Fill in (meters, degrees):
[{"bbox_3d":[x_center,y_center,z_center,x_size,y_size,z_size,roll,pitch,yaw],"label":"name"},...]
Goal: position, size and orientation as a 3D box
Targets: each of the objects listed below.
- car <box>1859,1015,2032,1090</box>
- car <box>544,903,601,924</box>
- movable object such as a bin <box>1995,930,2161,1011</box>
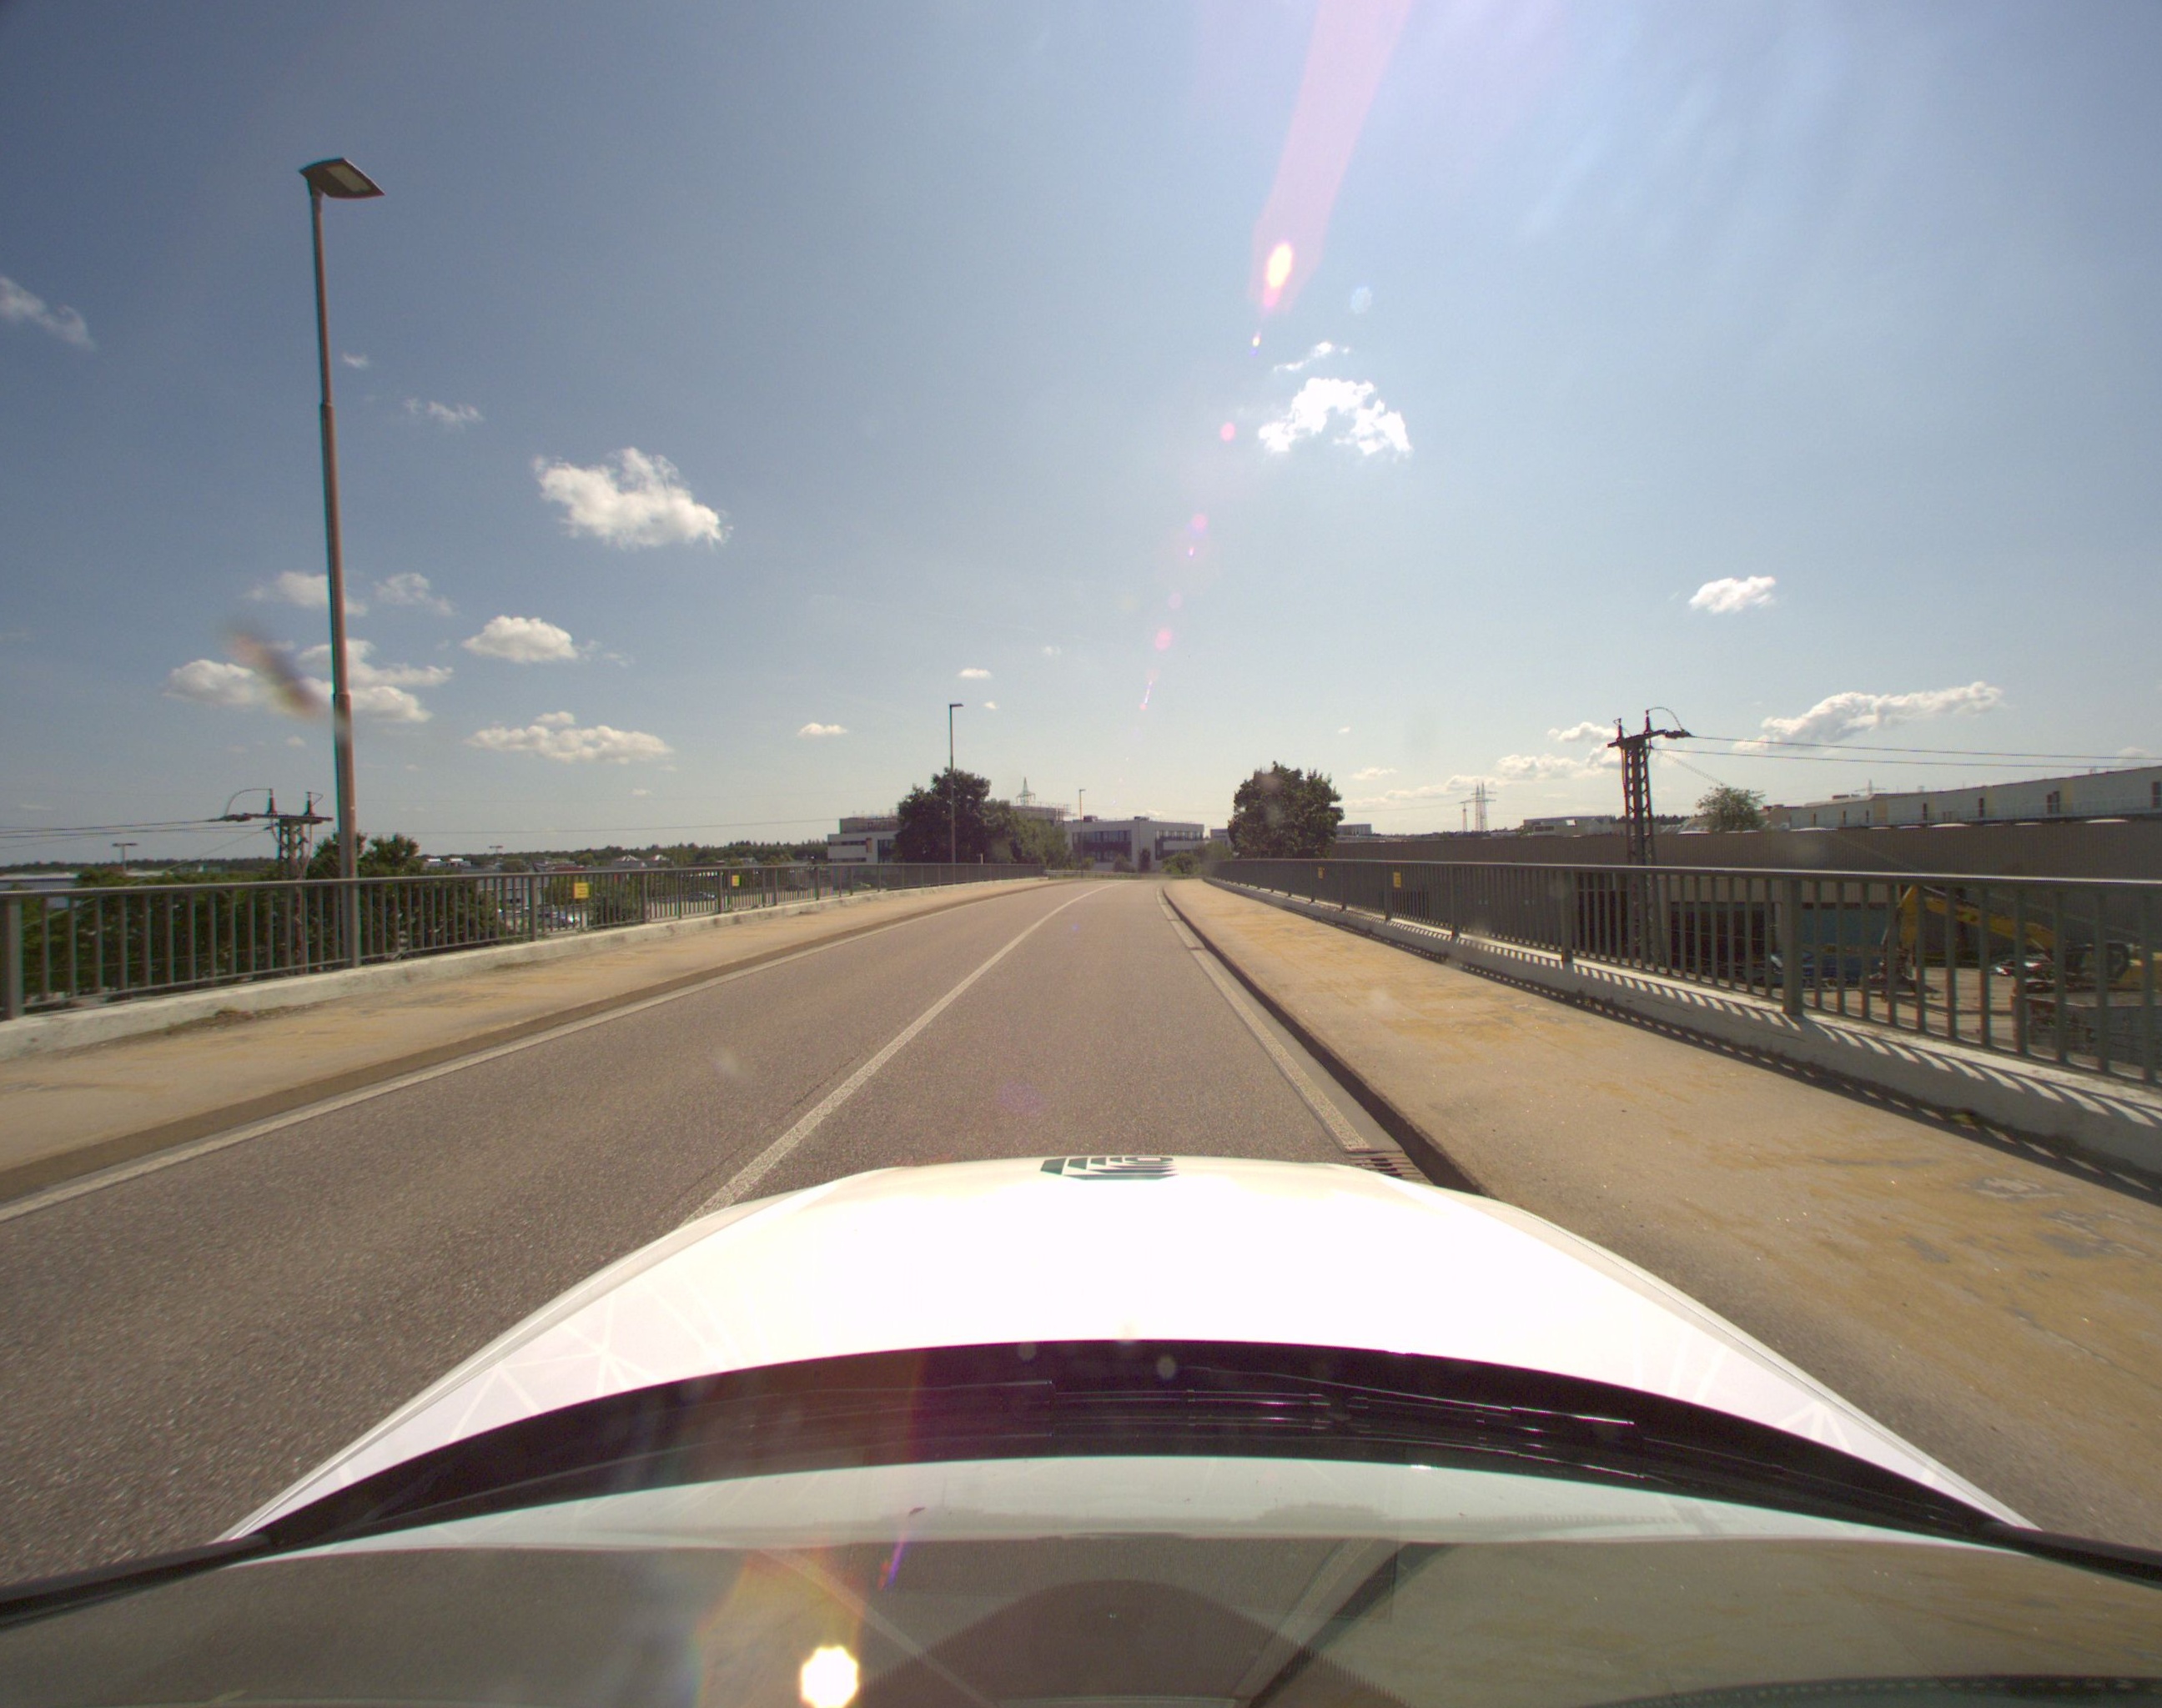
[{"bbox_3d":[31.413,7.171,29.813,1.985,1.595,4.249,3,0,4],"label":"car"},{"bbox_3d":[-47.932,5.593,76.825,3.980,1.747,1.904,-3,-1,-5],"label":"car"},{"bbox_3d":[50.568,5.704,40.447,6.144,3.289,3.269,-1,1,29],"label":"movable object such as a bin"}]
